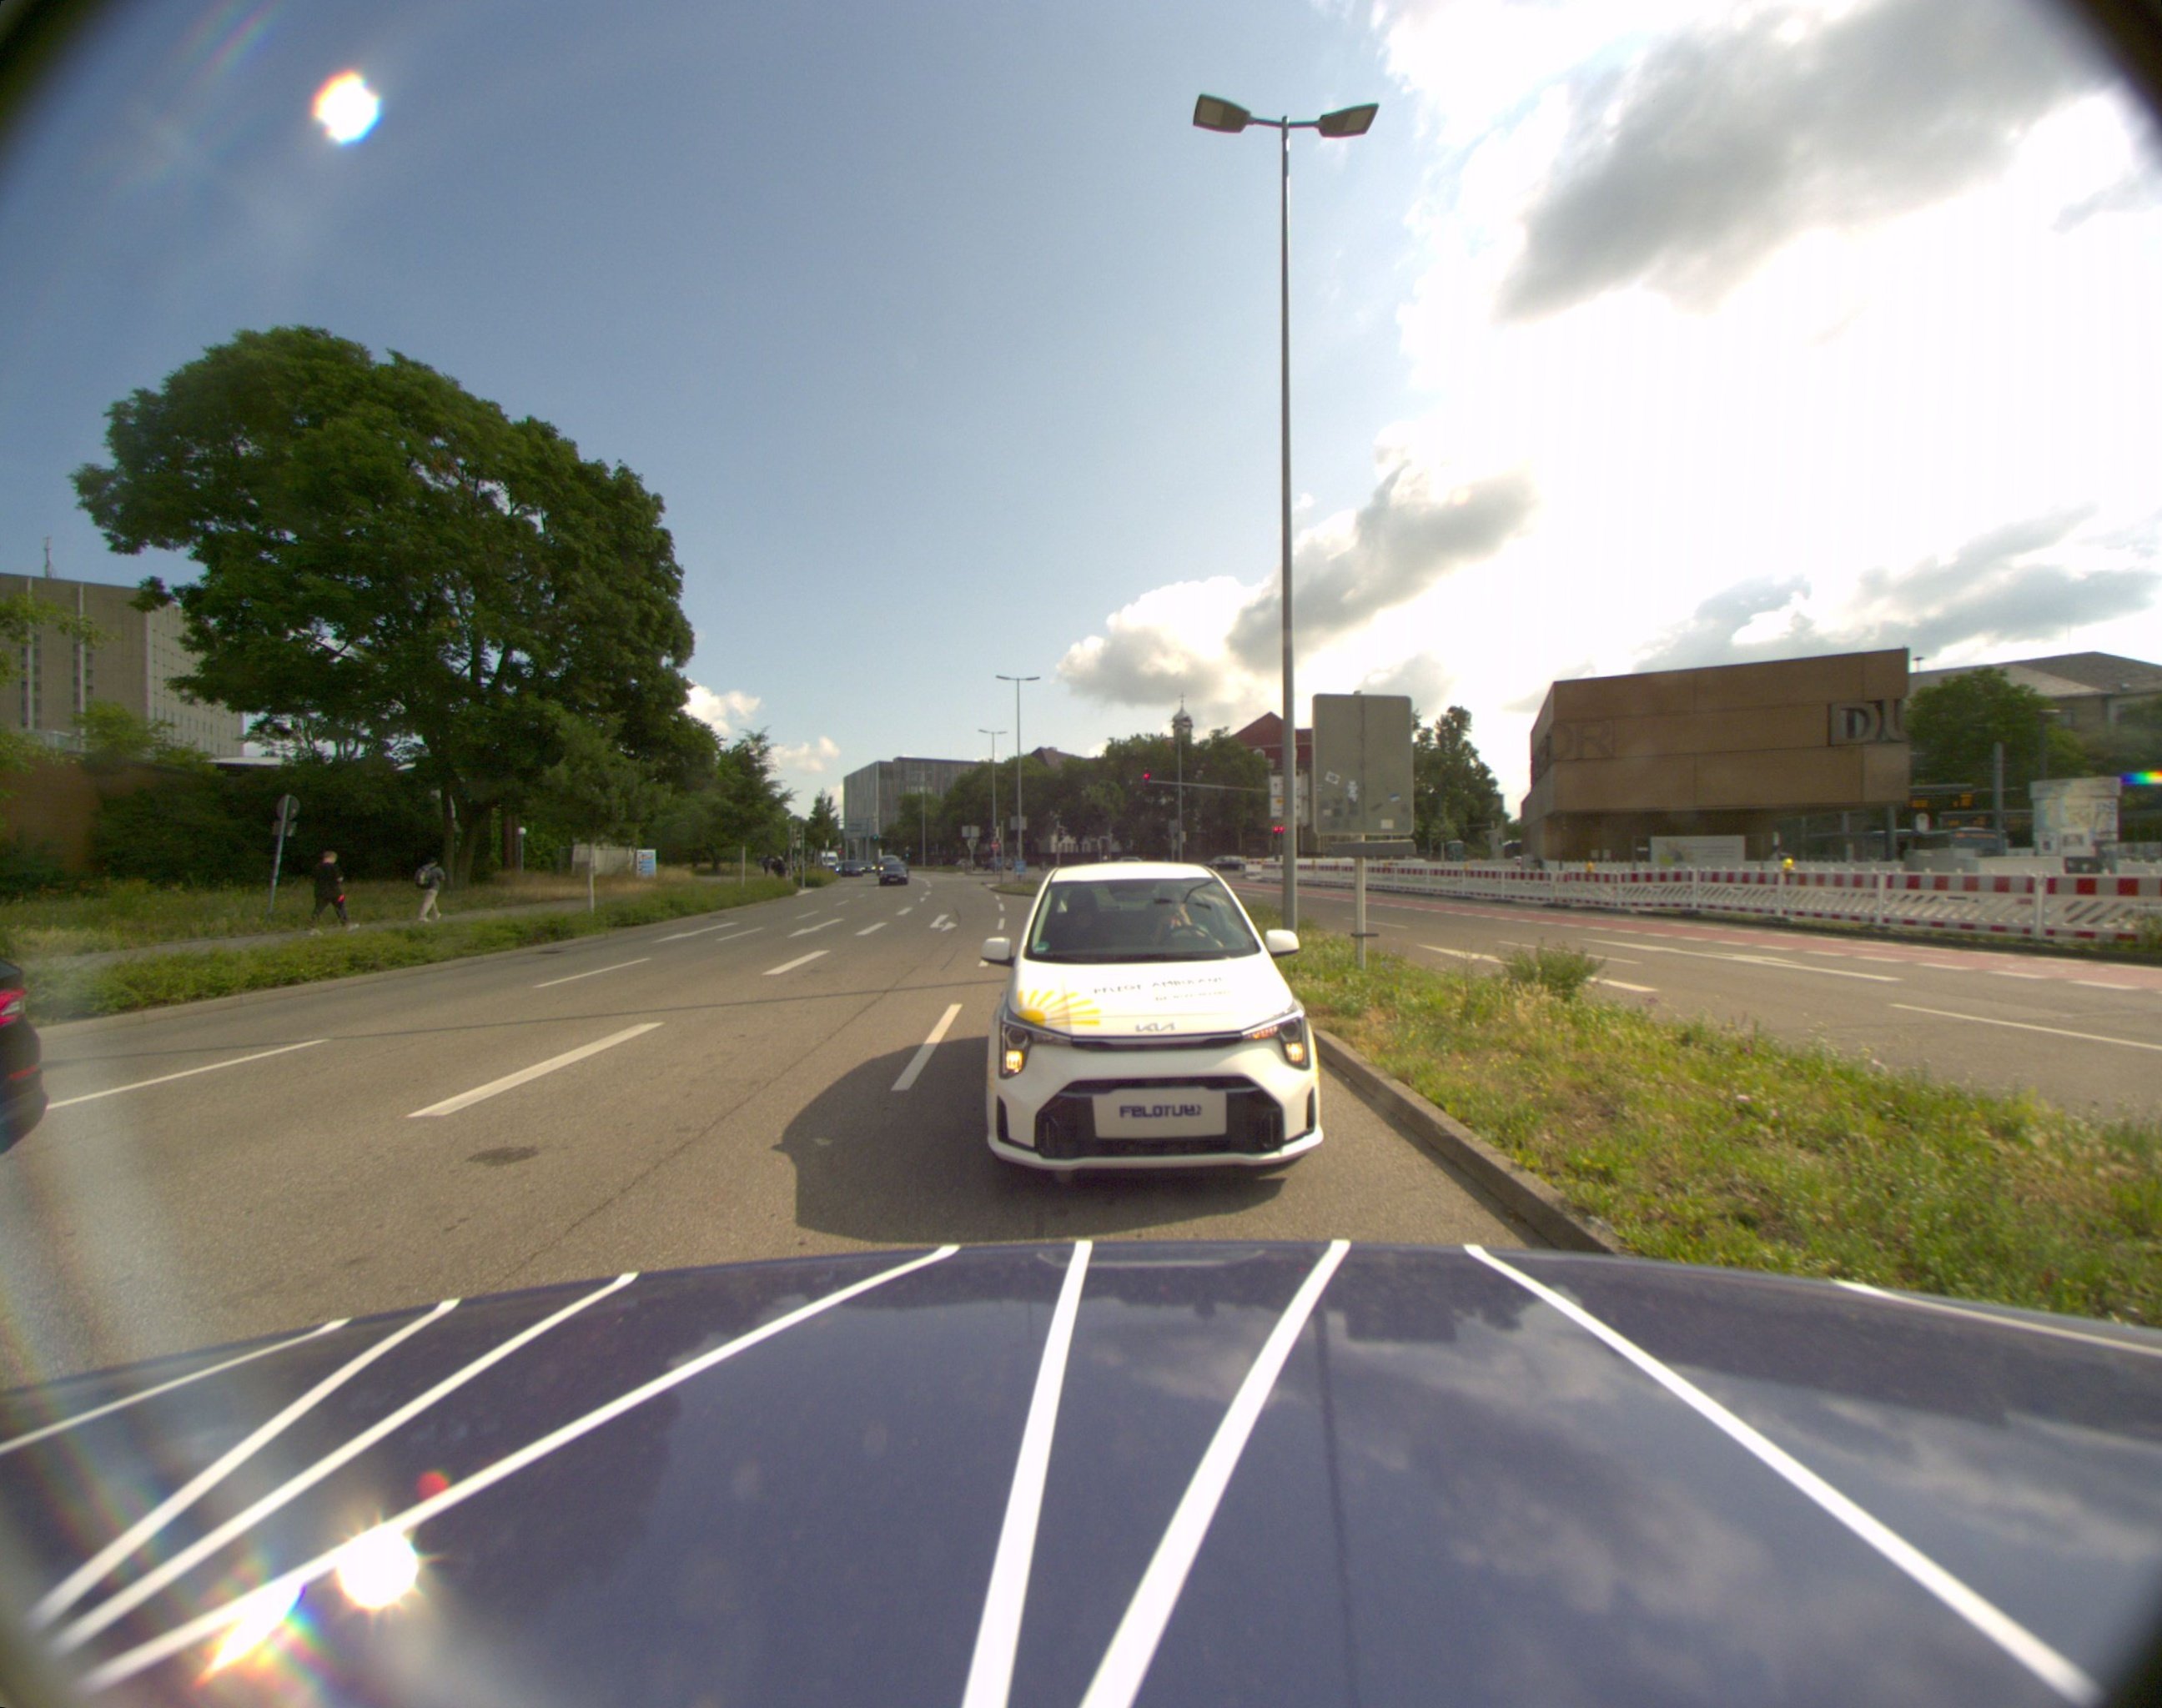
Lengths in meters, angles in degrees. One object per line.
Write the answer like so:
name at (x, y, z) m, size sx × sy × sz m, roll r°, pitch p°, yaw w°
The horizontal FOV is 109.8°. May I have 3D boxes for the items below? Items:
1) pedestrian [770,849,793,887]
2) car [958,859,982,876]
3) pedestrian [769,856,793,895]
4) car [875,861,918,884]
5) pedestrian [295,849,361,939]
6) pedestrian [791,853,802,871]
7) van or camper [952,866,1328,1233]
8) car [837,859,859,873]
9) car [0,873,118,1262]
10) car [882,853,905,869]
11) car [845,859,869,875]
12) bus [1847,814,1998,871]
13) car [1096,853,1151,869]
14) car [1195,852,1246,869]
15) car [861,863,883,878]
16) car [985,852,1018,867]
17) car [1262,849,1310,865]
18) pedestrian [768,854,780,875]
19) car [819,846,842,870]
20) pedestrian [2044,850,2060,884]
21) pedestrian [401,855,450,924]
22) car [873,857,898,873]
pedestrian at (-16.594, 0.770, 42.072) m, size 0.988 × 2.002 × 1.128 m, roll -3°, pitch 1°, yaw -16°
car at (-14.089, 1.702, 96.256) m, size 1.775 × 2.002 × 3.604 m, roll -3°, pitch 1°, yaw -30°
pedestrian at (-15.952, 1.138, 40.369) m, size 0.988 × 2.002 × 1.128 m, roll -3°, pitch 1°, yaw -16°
car at (-11.667, 1.152, 48.333) m, size 1.999 × 1.390 × 4.507 m, roll -1°, pitch 0°, yaw -6°
pedestrian at (-16.202, 0.846, 16.356) m, size 0.760 × 1.860 × 0.645 m, roll 2°, pitch 1°, yaw 1°
pedestrian at (-32.286, 0.885, 86.223) m, size 0.988 × 2.002 × 1.128 m, roll -1°, pitch 1°, yaw -16°
van or camper at (0.333, 0.882, 5.313) m, size 1.627 × 1.467 × 4.000 m, roll 0°, pitch 1°, yaw 2°
car at (-24.927, 1.243, 81.117) m, size 2.002 × 1.477 × 3.993 m, roll -1°, pitch 0°, yaw -20°
car at (-5.663, 0.995, 1.290) m, size 1.999 × 1.659 × 4.682 m, roll -3°, pitch 1°, yaw 0°
car at (-24.354, 0.912, 98.637) m, size 2.002 × 2.002 × 5.064 m, roll -3°, pitch 1°, yaw -23°
car at (-21.736, 1.203, 73.695) m, size 2.002 × 1.477 × 3.993 m, roll -1°, pitch 0°, yaw -20°
bus at (57.678, -0.696, 52.617) m, size 2.957 × 3.487 × 12.276 m, roll 0°, pitch 0°, yaw 28°
car at (4.047, 0.684, 72.118) m, size 5.094 × 1.479 × 1.960 m, roll 0°, pitch 0°, yaw 5°
car at (12.125, 0.555, 66.036) m, size 4.136 × 1.382 × 1.756 m, roll -1°, pitch 0°, yaw -29°
car at (-24.073, 1.919, 87.455) m, size 1.893 × 1.608 × 3.992 m, roll -3°, pitch 1°, yaw -23°
car at (-8.547, 0.580, 81.334) m, size 2.003 × 1.586 × 3.990 m, roll -1°, pitch 0°, yaw -32°
car at (18.786, 0.259, 69.645) m, size 4.136 × 1.382 × 1.756 m, roll -1°, pitch 0°, yaw -29°
pedestrian at (-31.299, 1.055, 77.486) m, size 0.988 × 2.002 × 1.128 m, roll -3°, pitch 1°, yaw -16°
car at (-30.962, 0.426, 93.791) m, size 2.488 × 2.862 × 6.139 m, roll -1°, pitch 0°, yaw -19°
pedestrian at (46.582, 0.621, 36.449) m, size 0.357 × 1.593 × 0.365 m, roll -1°, pitch 1°, yaw 21°
pedestrian at (-16.907, 0.907, 19.618) m, size 0.671 × 1.736 × 0.645 m, roll 2°, pitch 1°, yaw 1°
car at (-19.337, 1.097, 74.901) m, size 2.002 × 1.477 × 3.993 m, roll -1°, pitch 0°, yaw -20°
